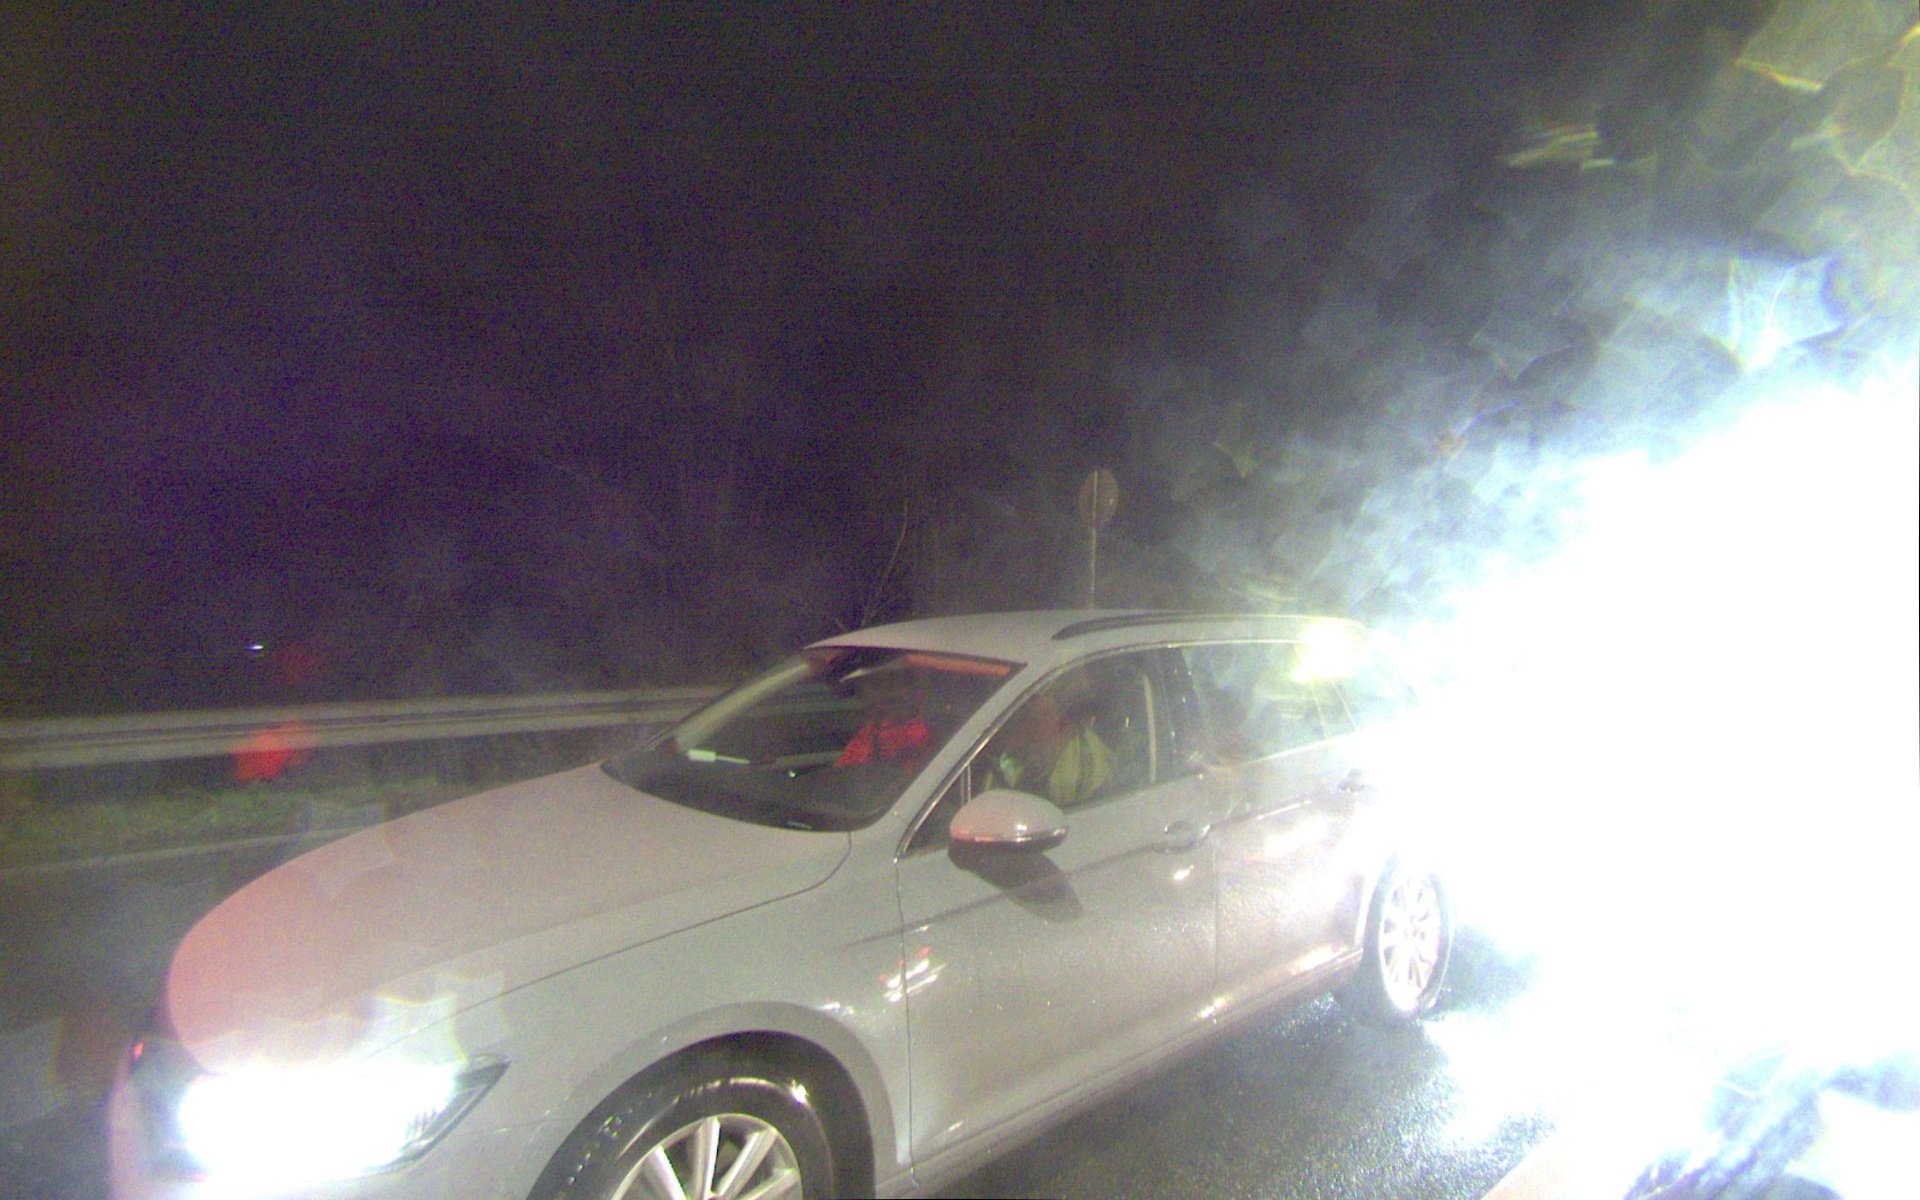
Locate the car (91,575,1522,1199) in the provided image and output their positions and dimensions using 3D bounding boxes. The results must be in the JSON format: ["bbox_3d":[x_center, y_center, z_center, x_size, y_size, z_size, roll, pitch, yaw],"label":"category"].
[{"bbox_3d":[0.046,0.713,3.307,4.336,1.541,1.710,-1,0,-40],"label":"car"}]

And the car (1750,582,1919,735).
[{"bbox_3d":[11.580,0.605,12.561,4.315,1.618,1.997,-1,2,-41],"label":"car"}]

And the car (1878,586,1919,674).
[{"bbox_3d":[19.823,0.557,19.985,4.315,1.618,1.997,-1,2,-41],"label":"car"}]

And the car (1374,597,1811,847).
[{"bbox_3d":[5.099,0.714,7.939,4.066,1.435,1.742,-1,0,-40],"label":"car"}]
